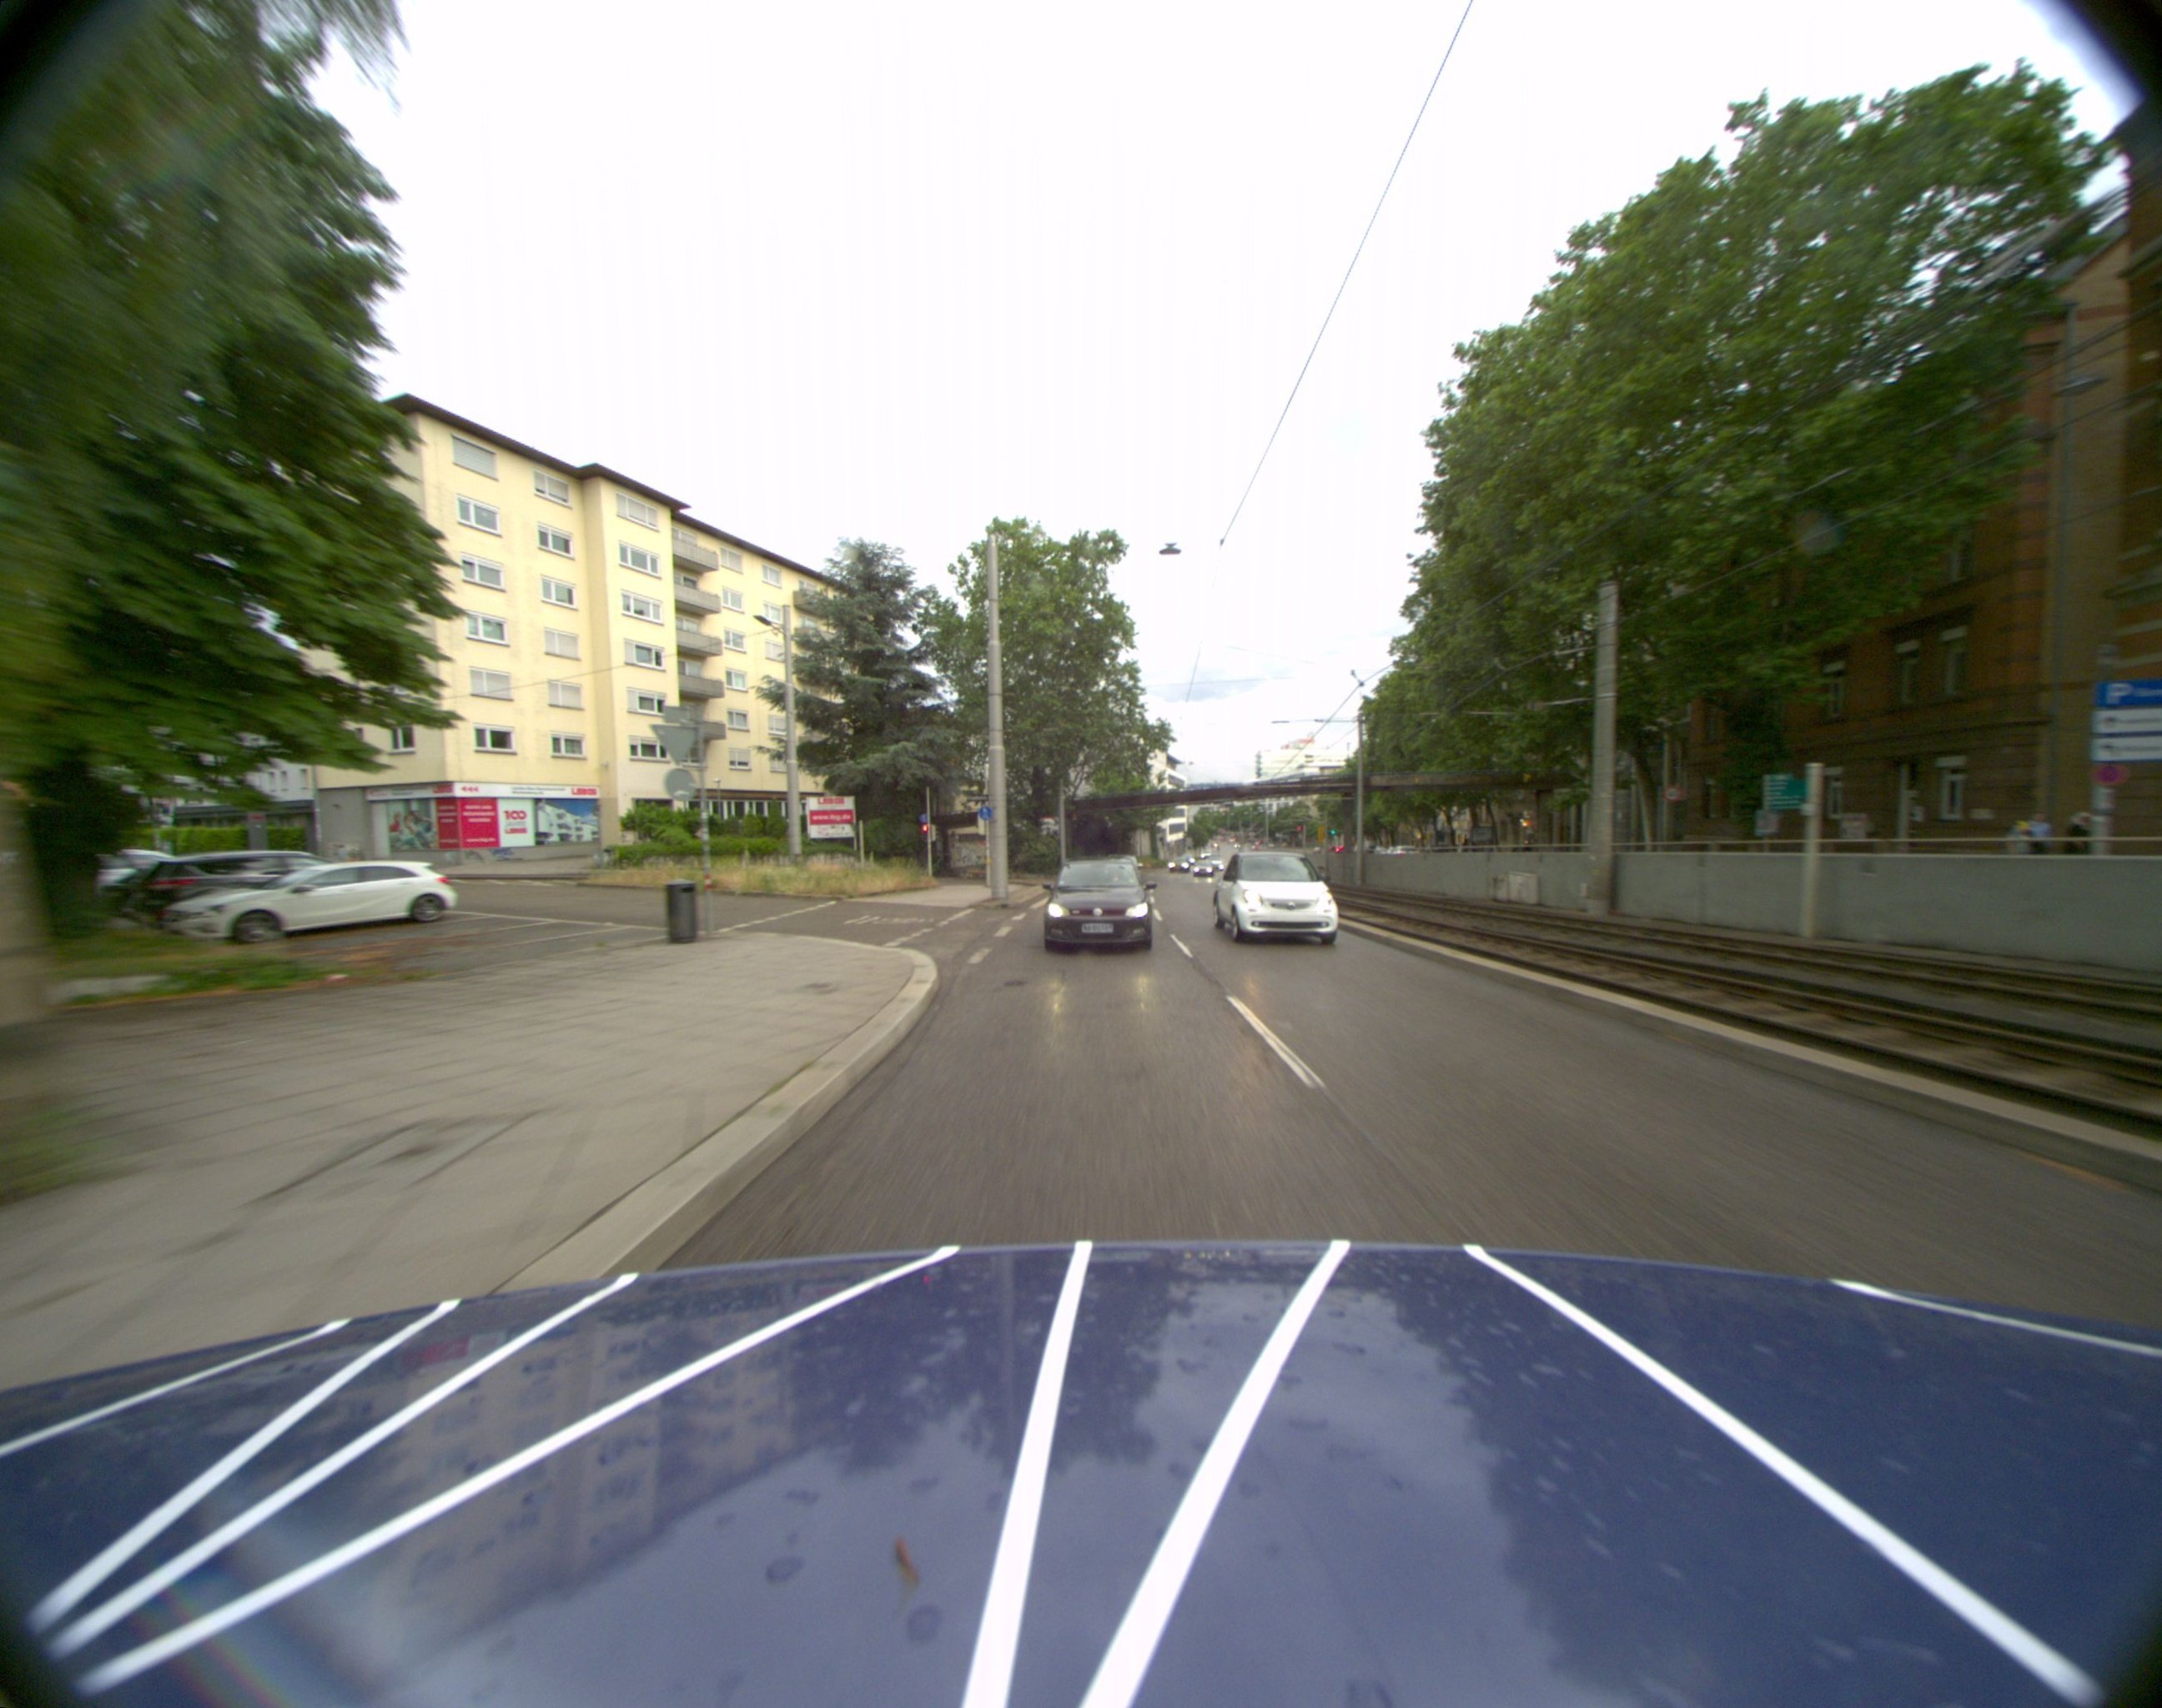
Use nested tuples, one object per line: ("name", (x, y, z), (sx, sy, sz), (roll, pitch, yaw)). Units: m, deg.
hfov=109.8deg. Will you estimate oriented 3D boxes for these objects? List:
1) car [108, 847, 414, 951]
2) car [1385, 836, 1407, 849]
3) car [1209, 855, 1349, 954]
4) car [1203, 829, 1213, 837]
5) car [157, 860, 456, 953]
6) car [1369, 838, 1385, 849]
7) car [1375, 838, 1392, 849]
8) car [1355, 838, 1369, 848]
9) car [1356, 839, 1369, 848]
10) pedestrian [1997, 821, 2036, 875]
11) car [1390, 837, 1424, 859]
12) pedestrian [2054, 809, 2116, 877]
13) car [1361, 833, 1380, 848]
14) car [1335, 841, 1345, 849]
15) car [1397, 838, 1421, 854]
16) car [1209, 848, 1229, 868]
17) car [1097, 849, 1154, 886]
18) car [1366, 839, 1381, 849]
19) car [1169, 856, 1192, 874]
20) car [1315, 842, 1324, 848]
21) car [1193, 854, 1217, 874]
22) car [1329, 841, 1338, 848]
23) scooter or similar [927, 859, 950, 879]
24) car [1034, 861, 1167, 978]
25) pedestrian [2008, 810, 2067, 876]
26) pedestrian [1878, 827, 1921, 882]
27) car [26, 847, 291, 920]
("car", (-18.307, 0.866, 17.256), (1.754, 1.794, 4.279), (1, 4, 27))
("car", (40.332, -1.429, 97.332), (1.930, 1.592, 5.205), (-2, 0, 15))
("car", (3.477, 0.805, 14.075), (1.798, 1.528, 4.001), (1, 0, 4))
("car", (26.149, -4.341, 156.376), (1.797, 1.502, 4.003), (-3, 1, 13))
("car", (-16.161, 0.975, 16.127), (1.754, 1.399, 4.005), (1, 4, 27))
("car", (45.801, -1.615, 117.589), (1.797, 1.562, 4.212), (-2, 0, 16))
("car", (42.567, -1.479, 107.003), (1.797, 1.501, 4.212), (-2, 0, 16))
("car", (57.057, -2.222, 154.467), (1.880, 1.754, 4.905), (-2, 0, 11))
("car", (53.744, -1.975, 145.025), (1.879, 1.754, 4.906), (-2, 0, 15))
("pedestrian", (23.301, -0.141, 18.929), (0.335, 1.326, 0.504), (1, 0, 7))
("car", (26.117, -0.494, 60.959), (1.797, 1.602, 4.363), (-2, 0, 14))
("pedestrian", (24.428, -0.261, 18.496), (0.593, 1.615, 0.724), (2, 0, 21))
("car", (51.207, -2.352, 134.349), (2.456, 2.647, 6.939), (-2, 0, 15))
("car", (56.608, -1.963, 165.933), (1.797, 1.501, 4.112), (-2, 0, 15))
("car", (35.649, -0.869, 82.730), (1.797, 1.602, 4.364), (-2, 0, 16))
("car", (15.193, 0.453, 83.558), (1.797, 2.021, 4.003), (-3, 1, 13))
("car", (2.069, 0.588, 34.377), (1.749, 1.433, 3.710), (-2, 1, 15))
("car", (48.611, -1.688, 126.338), (1.797, 1.501, 4.677), (-2, 0, 15))
("car", (10.117, 1.099, 76.861), (1.797, 1.657, 4.003), (-3, 1, 13))
("car", (60.923, -2.339, 194.311), (1.797, 1.501, 4.004), (-2, 0, 13))
("car", (11.153, 0.886, 68.094), (1.797, 1.502, 4.003), (-3, 1, 13))
("car", (64.250, -2.434, 193.188), (1.959, 1.841, 4.973), (-2, 0, 16))
("scooter or similar", (-8.635, 0.899, 46.087), (0.600, 1.211, 1.922), (1, 0, 15))
("car", (0.344, 0.865, 11.681), (1.677, 1.391, 3.849), (-1, 1, 3))
("pedestrian", (23.897, -0.269, 18.992), (0.593, 1.615, 0.724), (2, 0, 21))
("pedestrian", (24.535, 0.007, 22.796), (0.593, 1.615, 0.724), (2, 0, 21))
("car", (-24.823, 0.689, 20.663), (1.784, 1.548, 4.224), (2, 4, 27))
